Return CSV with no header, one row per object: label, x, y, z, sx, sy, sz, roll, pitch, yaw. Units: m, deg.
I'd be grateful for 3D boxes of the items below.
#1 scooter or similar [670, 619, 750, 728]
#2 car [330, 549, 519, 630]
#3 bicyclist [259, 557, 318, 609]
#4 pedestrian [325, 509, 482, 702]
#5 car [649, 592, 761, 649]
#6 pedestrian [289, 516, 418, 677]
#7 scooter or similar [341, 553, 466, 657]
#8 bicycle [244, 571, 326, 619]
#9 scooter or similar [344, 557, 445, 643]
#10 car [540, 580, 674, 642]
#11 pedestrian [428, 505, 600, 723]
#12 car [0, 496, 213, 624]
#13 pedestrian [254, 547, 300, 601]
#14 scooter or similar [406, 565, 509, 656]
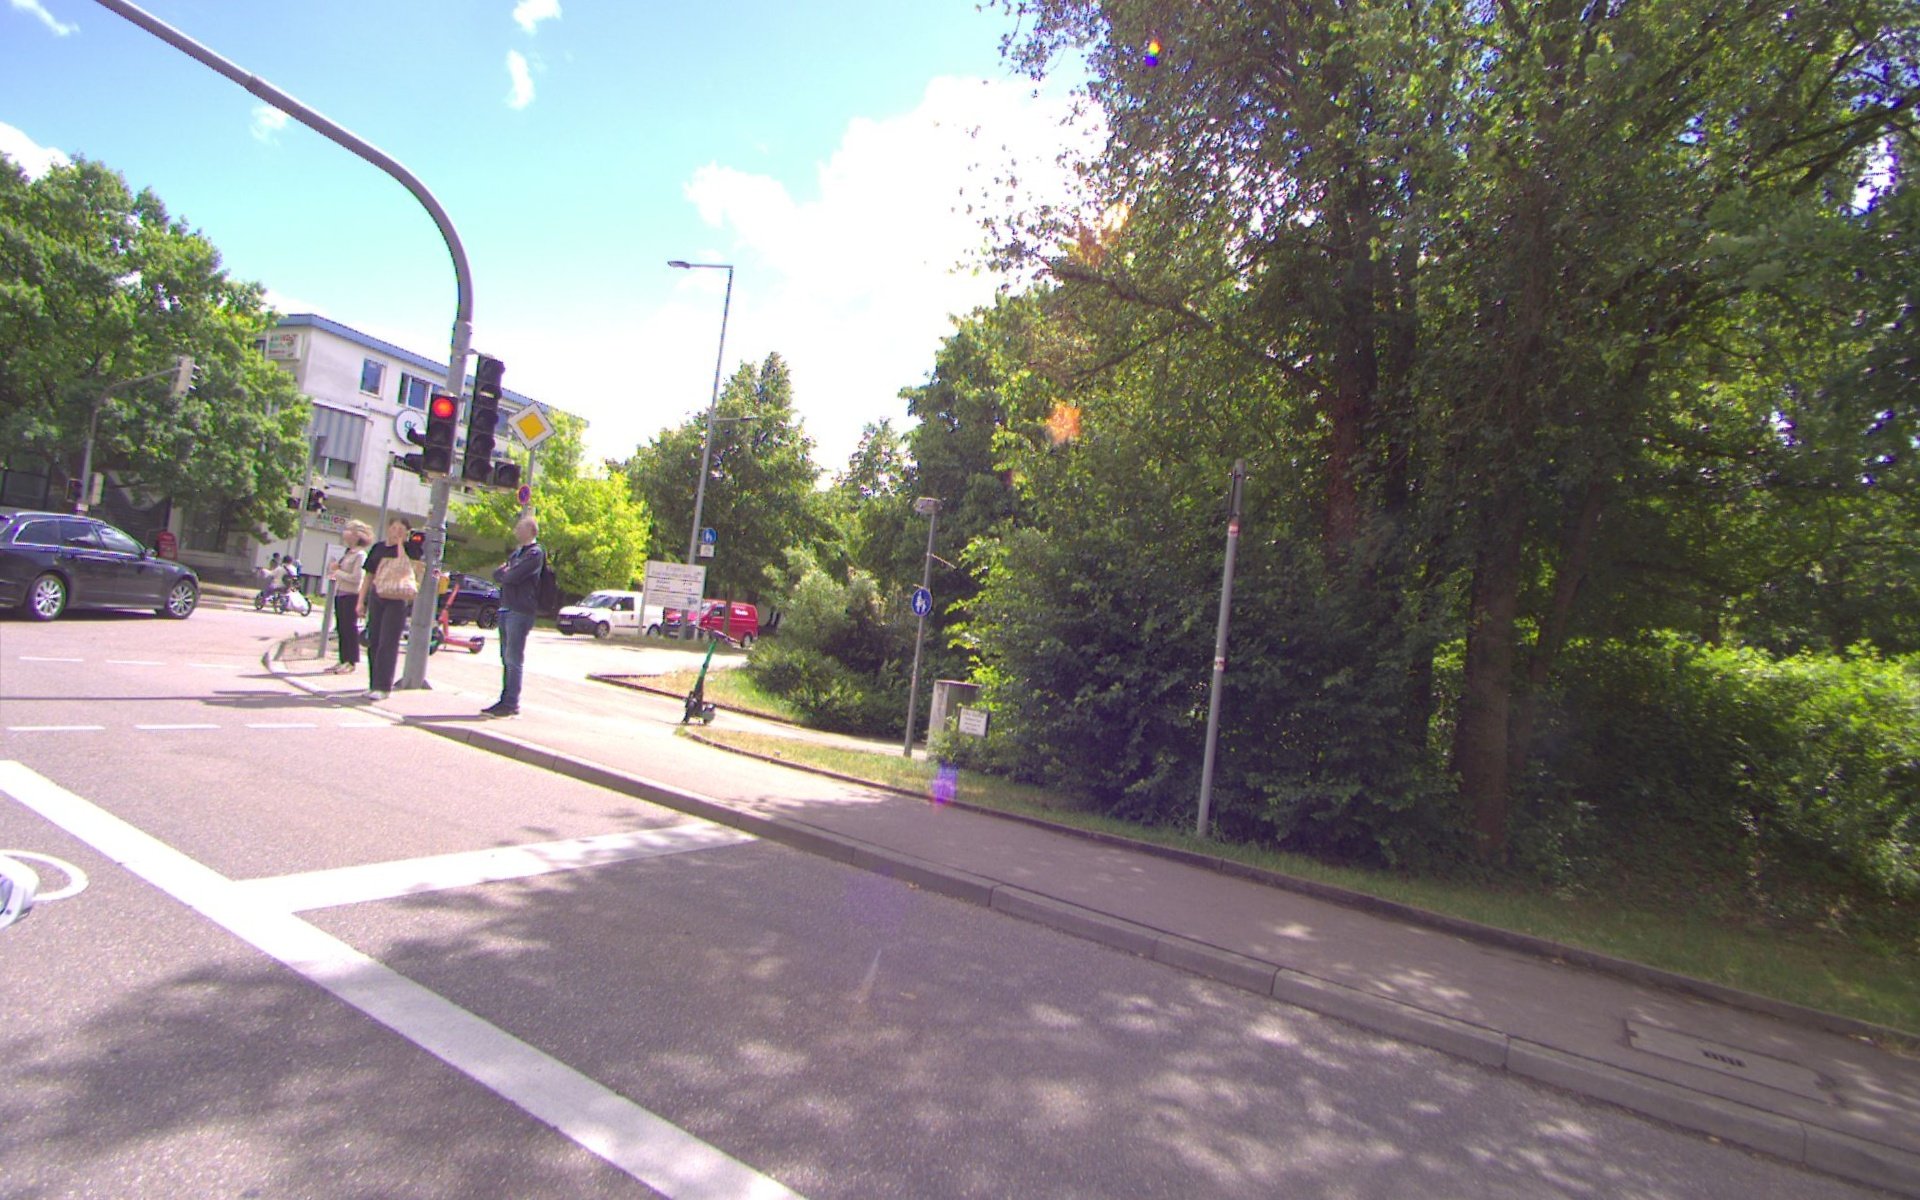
scooter or similar,-3.340,1.003,13.536,0.706,1.287,1.243,10,-7,-7
car,-15.835,-0.253,30.038,1.964,1.737,4.574,7,-2,25
bicyclist,-15.106,-0.379,22.639,0.625,1.034,0.793,7,-2,32
pedestrian,-5.597,0.076,10.159,0.758,1.787,0.936,7,0,20
car,-10.625,0.897,42.331,1.964,1.885,4.822,5,-3,23
pedestrian,-6.939,-0.038,11.505,0.950,1.694,0.860,7,-1,-43
scooter or similar,-7.877,0.096,14.290,0.455,1.292,1.344,8,-1,38
bicycle,-15.239,-0.119,22.699,1.778,0.828,0.793,6,-2,32
scooter or similar,-8.938,0.026,15.954,0.533,1.168,1.362,9,-3,7
car,-12.937,0.467,37.234,1.963,1.737,4.576,7,-2,23
pedestrian,-4.345,0.156,9.848,0.881,1.964,0.968,7,-1,28
car,-13.125,-0.573,14.372,1.967,1.571,4.516,7,-2,-10
pedestrian,-23.145,-0.867,34.089,0.757,1.662,0.907,8,-1,-6
scooter or similar,-7.928,0.190,15.922,0.547,1.254,1.231,8,-3,23
